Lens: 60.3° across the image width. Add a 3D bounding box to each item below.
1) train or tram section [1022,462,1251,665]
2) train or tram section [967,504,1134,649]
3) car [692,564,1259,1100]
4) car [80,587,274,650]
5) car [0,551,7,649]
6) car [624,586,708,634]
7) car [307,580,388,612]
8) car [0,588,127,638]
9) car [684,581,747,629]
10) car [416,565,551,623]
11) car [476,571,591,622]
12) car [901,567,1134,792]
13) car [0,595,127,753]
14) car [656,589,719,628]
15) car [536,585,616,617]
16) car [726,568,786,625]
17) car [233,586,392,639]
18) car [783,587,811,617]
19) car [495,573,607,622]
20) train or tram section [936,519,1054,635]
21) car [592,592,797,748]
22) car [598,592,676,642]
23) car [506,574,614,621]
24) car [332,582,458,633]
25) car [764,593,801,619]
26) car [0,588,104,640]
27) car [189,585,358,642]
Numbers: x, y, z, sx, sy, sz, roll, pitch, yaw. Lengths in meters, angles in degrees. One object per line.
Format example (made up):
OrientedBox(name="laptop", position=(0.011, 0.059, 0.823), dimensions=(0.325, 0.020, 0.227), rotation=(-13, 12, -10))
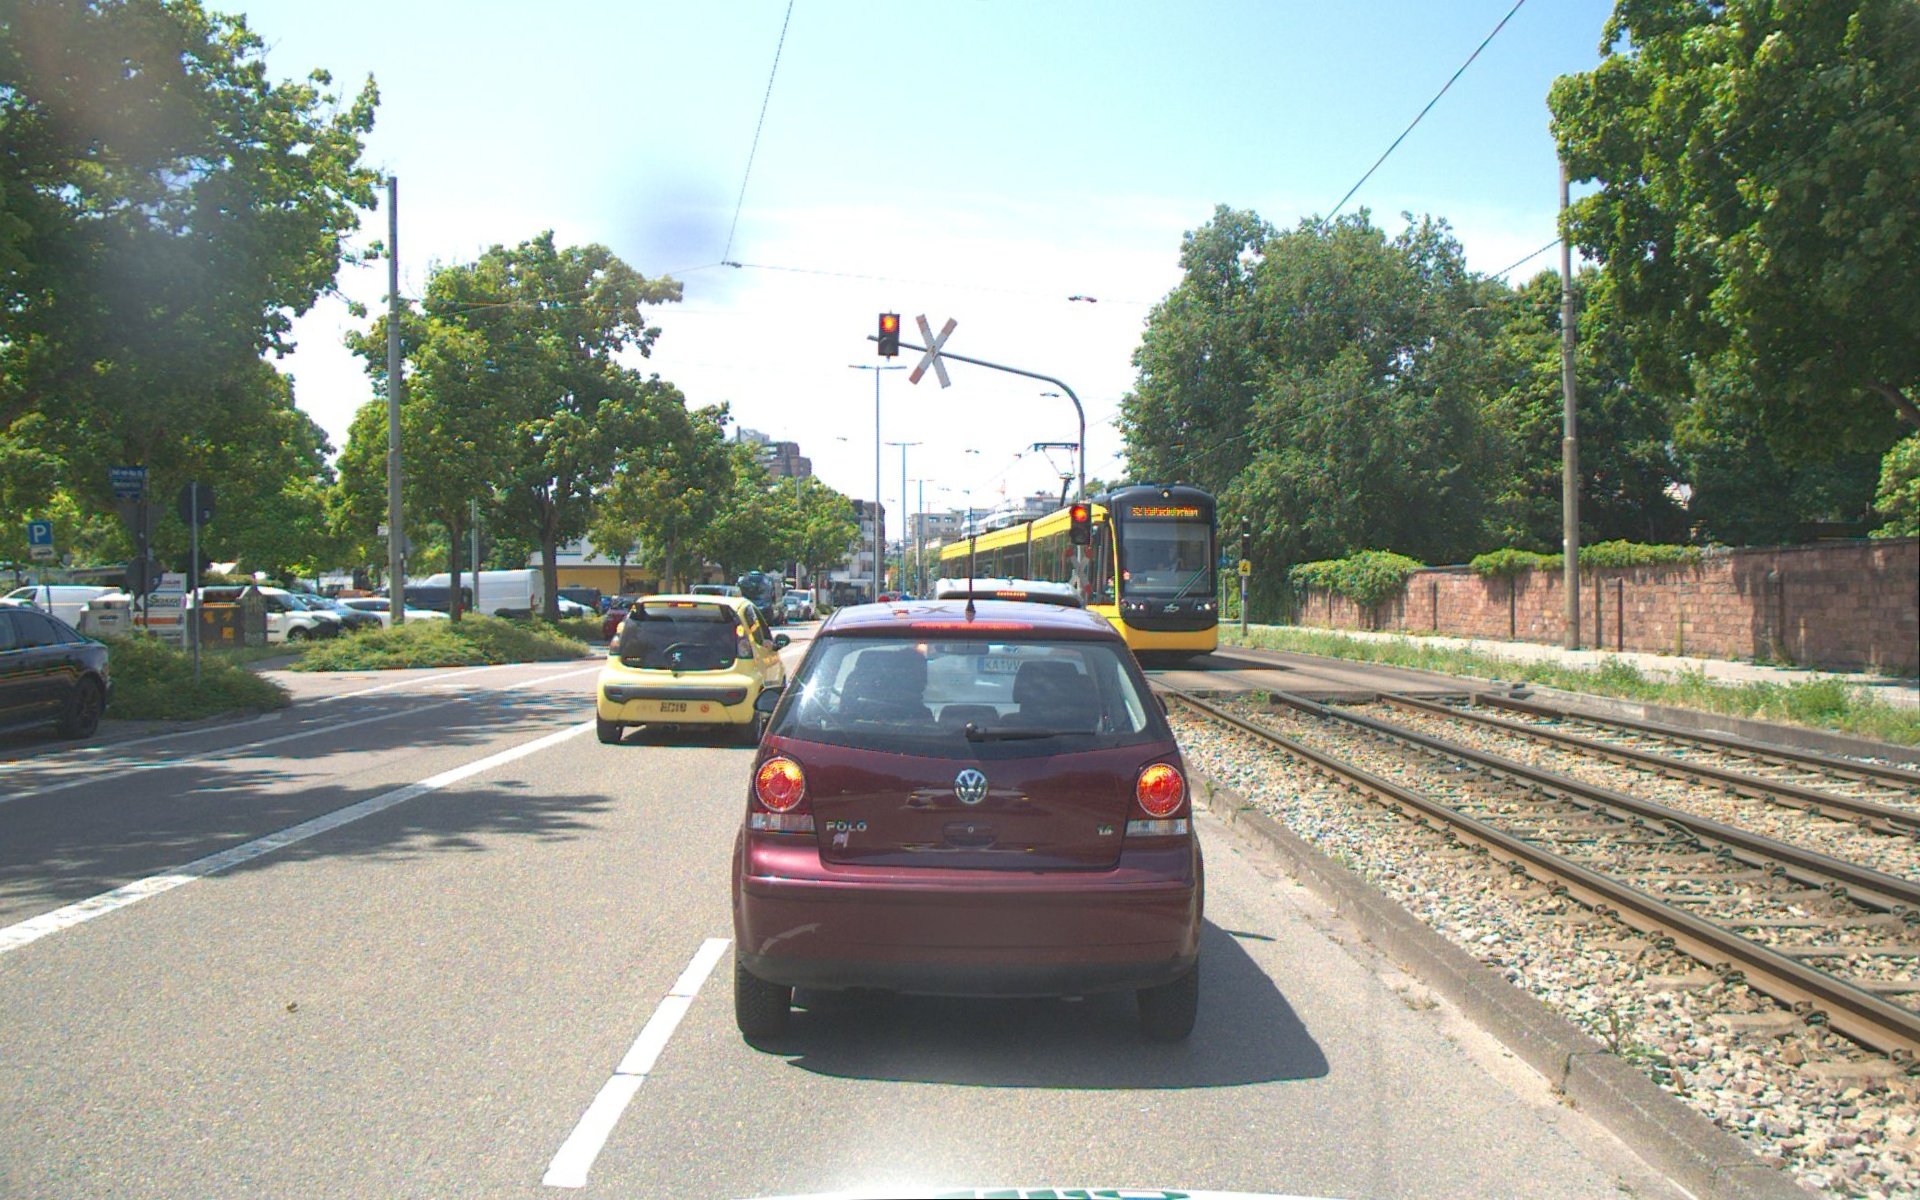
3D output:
OrientedBox(name="train or tram section", position=(3.519, -0.736, 37.028), dimensions=(2.687, 3.672, 12.858), rotation=(2, 0, -5))
OrientedBox(name="train or tram section", position=(2.390, -0.668, 48.521), dimensions=(2.690, 3.672, 10.930), rotation=(2, 0, -8))
OrientedBox(name="car", position=(0.001, 0.677, 6.886), dimensions=(1.638, 1.548, 3.999), rotation=(2, 0, -2))
OrientedBox(name="car", position=(-20.936, 0.488, 44.340), dimensions=(4.256, 1.612, 1.912), rotation=(-1, 0, -3))
OrientedBox(name="car", position=(-33.104, -0.119, 50.292), dimensions=(6.714, 3.017, 2.363), rotation=(2, -1, -2))
OrientedBox(name="car", position=(-10.741, 0.380, 60.785), dimensions=(1.934, 1.629, 4.560), rotation=(2, -1, 4))
OrientedBox(name="car", position=(-35.330, -0.226, 95.447), dimensions=(3.939, 1.645, 1.816), rotation=(2, -1, -2))
OrientedBox(name="car", position=(-32.841, 0.472, 60.329), dimensions=(3.913, 1.682, 1.812), rotation=(2, -1, -9))
OrientedBox(name="car", position=(-10.453, 0.237, 71.029), dimensions=(1.746, 1.914, 4.787), rotation=(2, -1, 2))
OrientedBox(name="car", position=(-20.306, -0.241, 70.633), dimensions=(4.993, 2.283, 2.378), rotation=(2, -1, 0))
OrientedBox(name="car", position=(-21.075, -0.157, 81.949), dimensions=(4.993, 2.283, 2.378), rotation=(2, -1, 0))
OrientedBox(name="car", position=(0.386, 0.599, 14.645), dimensions=(1.741, 1.676, 3.999), rotation=(2, 0, -2))
OrientedBox(name="car", position=(-10.305, 0.729, 16.491), dimensions=(1.782, 1.502, 4.448), rotation=(2, 0, -1))
OrientedBox(name="car", position=(-10.741, 0.341, 65.345), dimensions=(1.581, 1.466, 4.001), rotation=(2, -1, 3))
OrientedBox(name="car", position=(-21.197, 0.068, 91.421), dimensions=(3.938, 1.645, 1.816), rotation=(2, -1, 0))
OrientedBox(name="car", position=(-10.310, -0.139, 84.076), dimensions=(2.313, 2.739, 5.307), rotation=(2, -1, 0))
OrientedBox(name="car", position=(-20.373, 0.372, 52.158), dimensions=(4.251, 1.612, 1.914), rotation=(0, 0, 5))
OrientedBox(name="car", position=(-10.595, 0.131, 107.353), dimensions=(1.741, 1.860, 3.995), rotation=(2, -1, -6))
OrientedBox(name="car", position=(-20.837, -0.127, 84.425), dimensions=(4.993, 2.283, 2.378), rotation=(2, -1, 0))
OrientedBox(name="train or tram section", position=(1.062, -0.807, 58.992), dimensions=(2.688, 3.672, 10.935), rotation=(2, 0, -7))
OrientedBox(name="car", position=(-2.711, 0.661, 17.559), dimensions=(1.656, 1.435, 3.514), rotation=(2, 0, -2))
OrientedBox(name="car", position=(-10.546, 0.540, 54.239), dimensions=(1.628, 1.523, 4.000), rotation=(2, -1, 1))
OrientedBox(name="car", position=(-21.015, -0.110, 87.102), dimensions=(4.993, 2.283, 2.378), rotation=(2, -1, 0))
OrientedBox(name="car", position=(-20.514, 0.258, 60.189), dimensions=(3.906, 1.776, 1.998), rotation=(-1, 0, -2))
OrientedBox(name="car", position=(-10.829, 0.386, 101.082), dimensions=(1.581, 1.466, 4.001), rotation=(2, -1, 3))
OrientedBox(name="car", position=(-32.461, 0.465, 57.963), dimensions=(3.913, 1.682, 1.812), rotation=(2, -1, -9))
OrientedBox(name="car", position=(-20.451, 0.391, 49.378), dimensions=(4.251, 1.612, 1.914), rotation=(0, 0, 5))
